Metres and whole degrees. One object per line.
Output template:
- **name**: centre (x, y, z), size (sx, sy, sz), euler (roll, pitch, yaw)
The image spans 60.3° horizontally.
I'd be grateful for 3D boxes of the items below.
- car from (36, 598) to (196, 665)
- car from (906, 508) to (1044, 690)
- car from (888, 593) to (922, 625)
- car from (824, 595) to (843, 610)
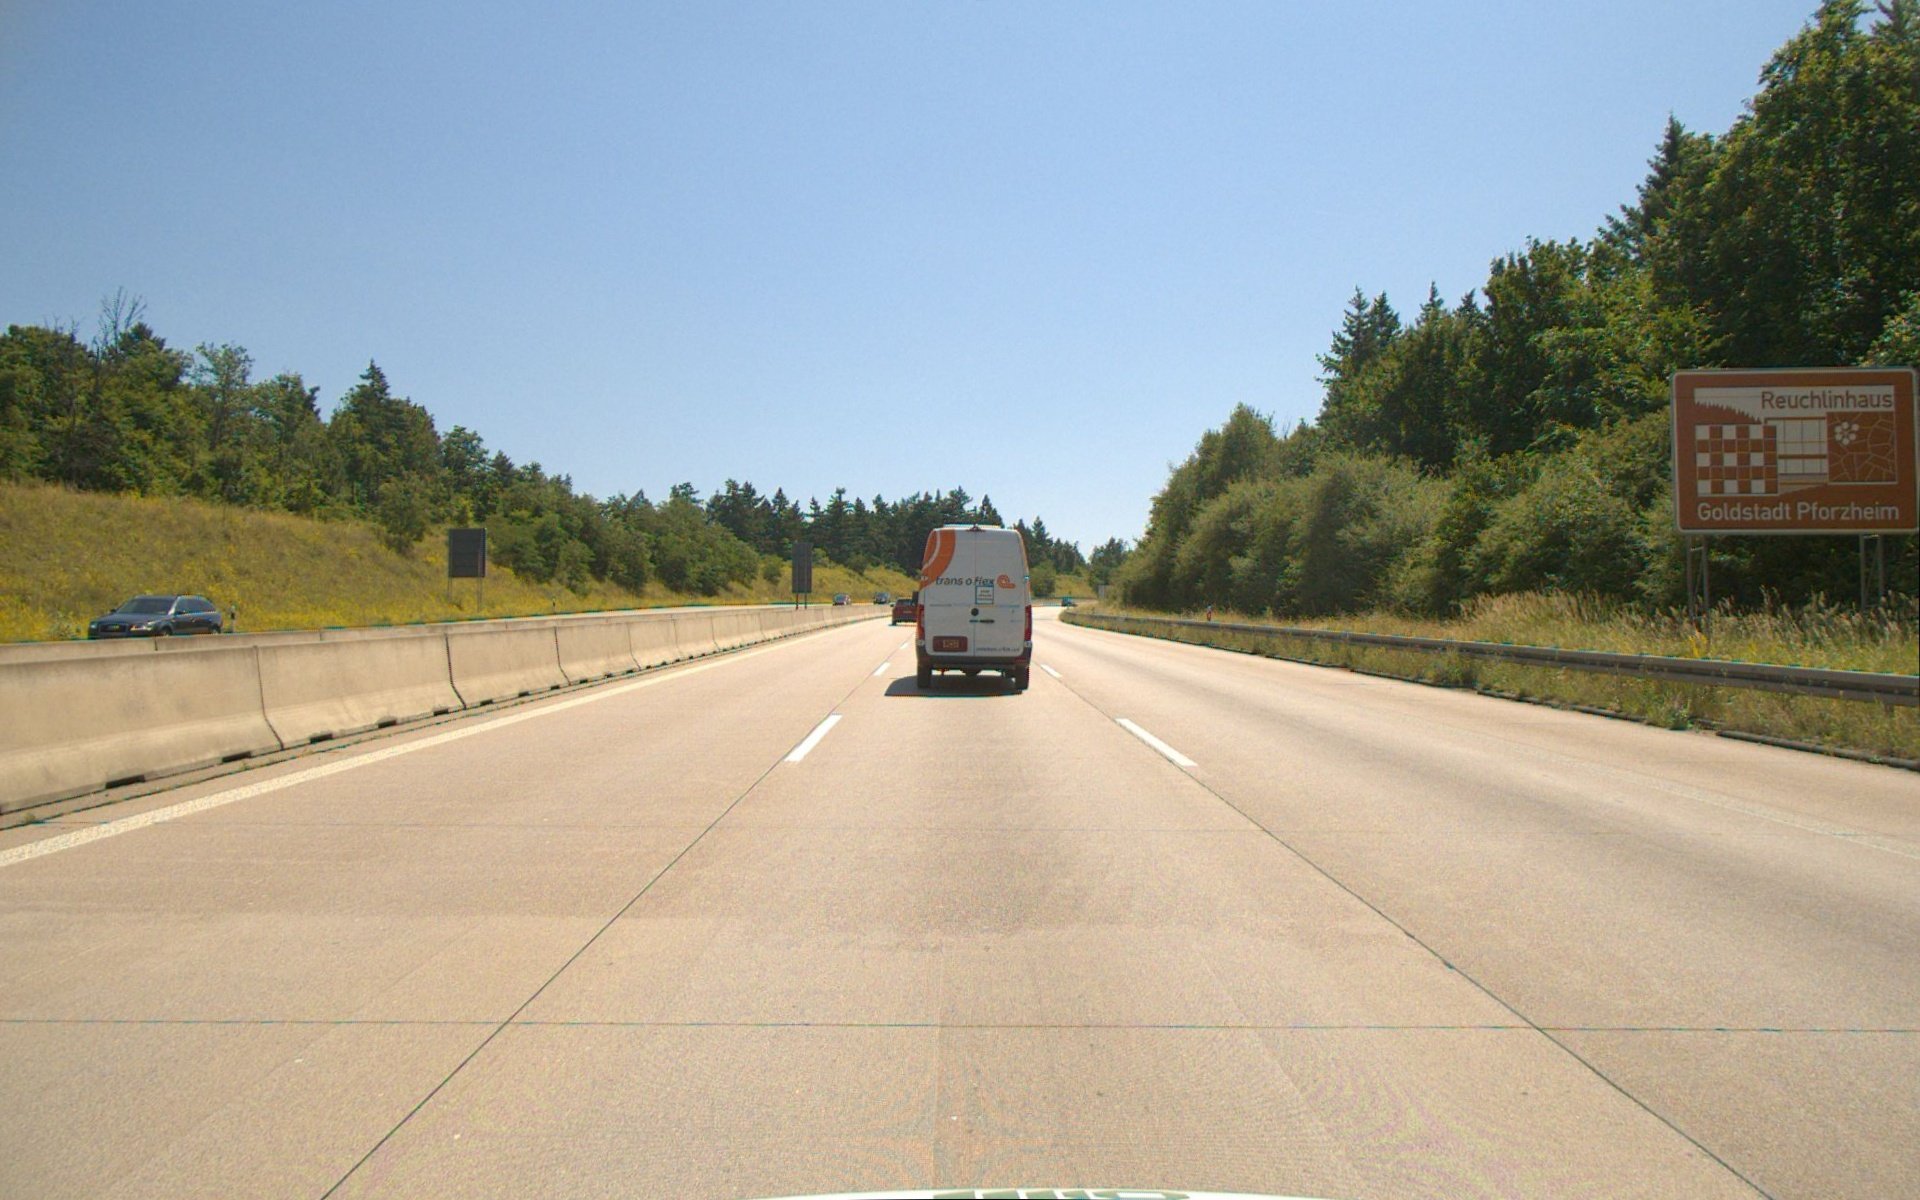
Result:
- **car**: centre (-21.159, 0.765, 41.676), size (1.953, 1.611, 4.042), euler (0, -1, 0)
- **car**: centre (0.200, -0.014, 29.194), size (2.181, 2.894, 5.453), euler (0, 0, -1)
- **car**: centre (-3.213, 0.560, 97.369), size (1.953, 1.825, 3.999), euler (0, -1, -1)
- **car**: centre (-14.825, 0.322, 194.476), size (1.953, 1.736, 3.999), euler (0, -1, -1)
